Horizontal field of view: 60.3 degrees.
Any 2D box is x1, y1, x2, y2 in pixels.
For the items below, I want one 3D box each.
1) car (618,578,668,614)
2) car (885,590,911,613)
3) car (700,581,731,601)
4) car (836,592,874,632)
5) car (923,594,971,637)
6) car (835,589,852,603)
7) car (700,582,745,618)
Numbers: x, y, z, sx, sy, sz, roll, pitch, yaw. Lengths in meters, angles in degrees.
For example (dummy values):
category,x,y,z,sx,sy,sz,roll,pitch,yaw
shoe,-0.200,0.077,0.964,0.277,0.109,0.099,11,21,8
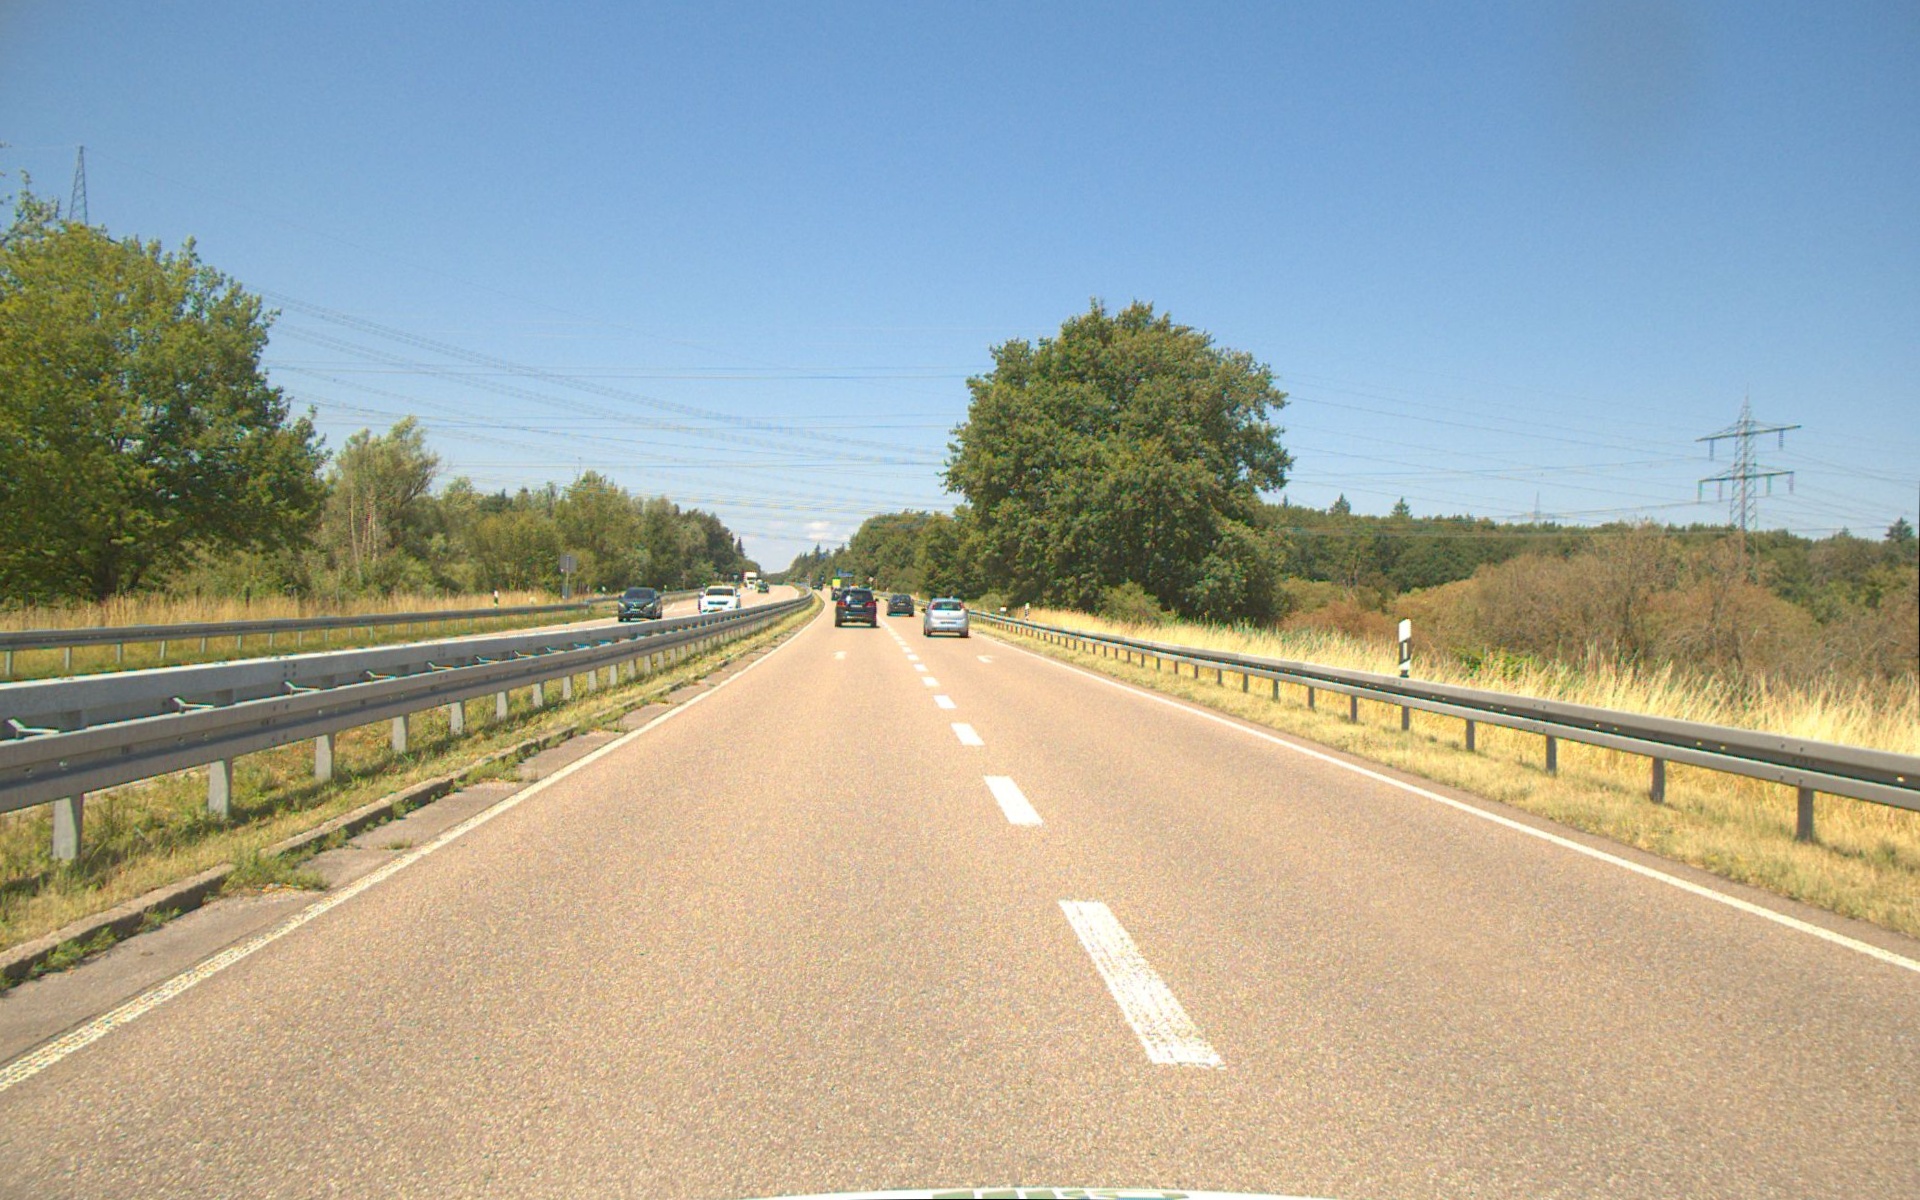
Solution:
category,x,y,z,sx,sy,sz,roll,pitch,yaw
car,-15.225,-0.200,79.634,1.805,1.646,4.168,1,0,-4
car,-4.143,0.100,110.505,1.608,1.366,3.572,4,0,-3
car,-18.234,-0.665,123.449,1.886,1.409,4.655,1,0,-3
car,-4.817,0.524,76.145,1.608,1.682,3.571,4,0,-3
car,-0.541,0.579,64.475,1.608,1.493,3.416,4,0,-4
car,-13.591,-0.464,192.737,1.680,1.496,3.569,4,0,-7
car,-12.527,-0.021,87.602,1.940,1.839,4.965,1,0,-4
